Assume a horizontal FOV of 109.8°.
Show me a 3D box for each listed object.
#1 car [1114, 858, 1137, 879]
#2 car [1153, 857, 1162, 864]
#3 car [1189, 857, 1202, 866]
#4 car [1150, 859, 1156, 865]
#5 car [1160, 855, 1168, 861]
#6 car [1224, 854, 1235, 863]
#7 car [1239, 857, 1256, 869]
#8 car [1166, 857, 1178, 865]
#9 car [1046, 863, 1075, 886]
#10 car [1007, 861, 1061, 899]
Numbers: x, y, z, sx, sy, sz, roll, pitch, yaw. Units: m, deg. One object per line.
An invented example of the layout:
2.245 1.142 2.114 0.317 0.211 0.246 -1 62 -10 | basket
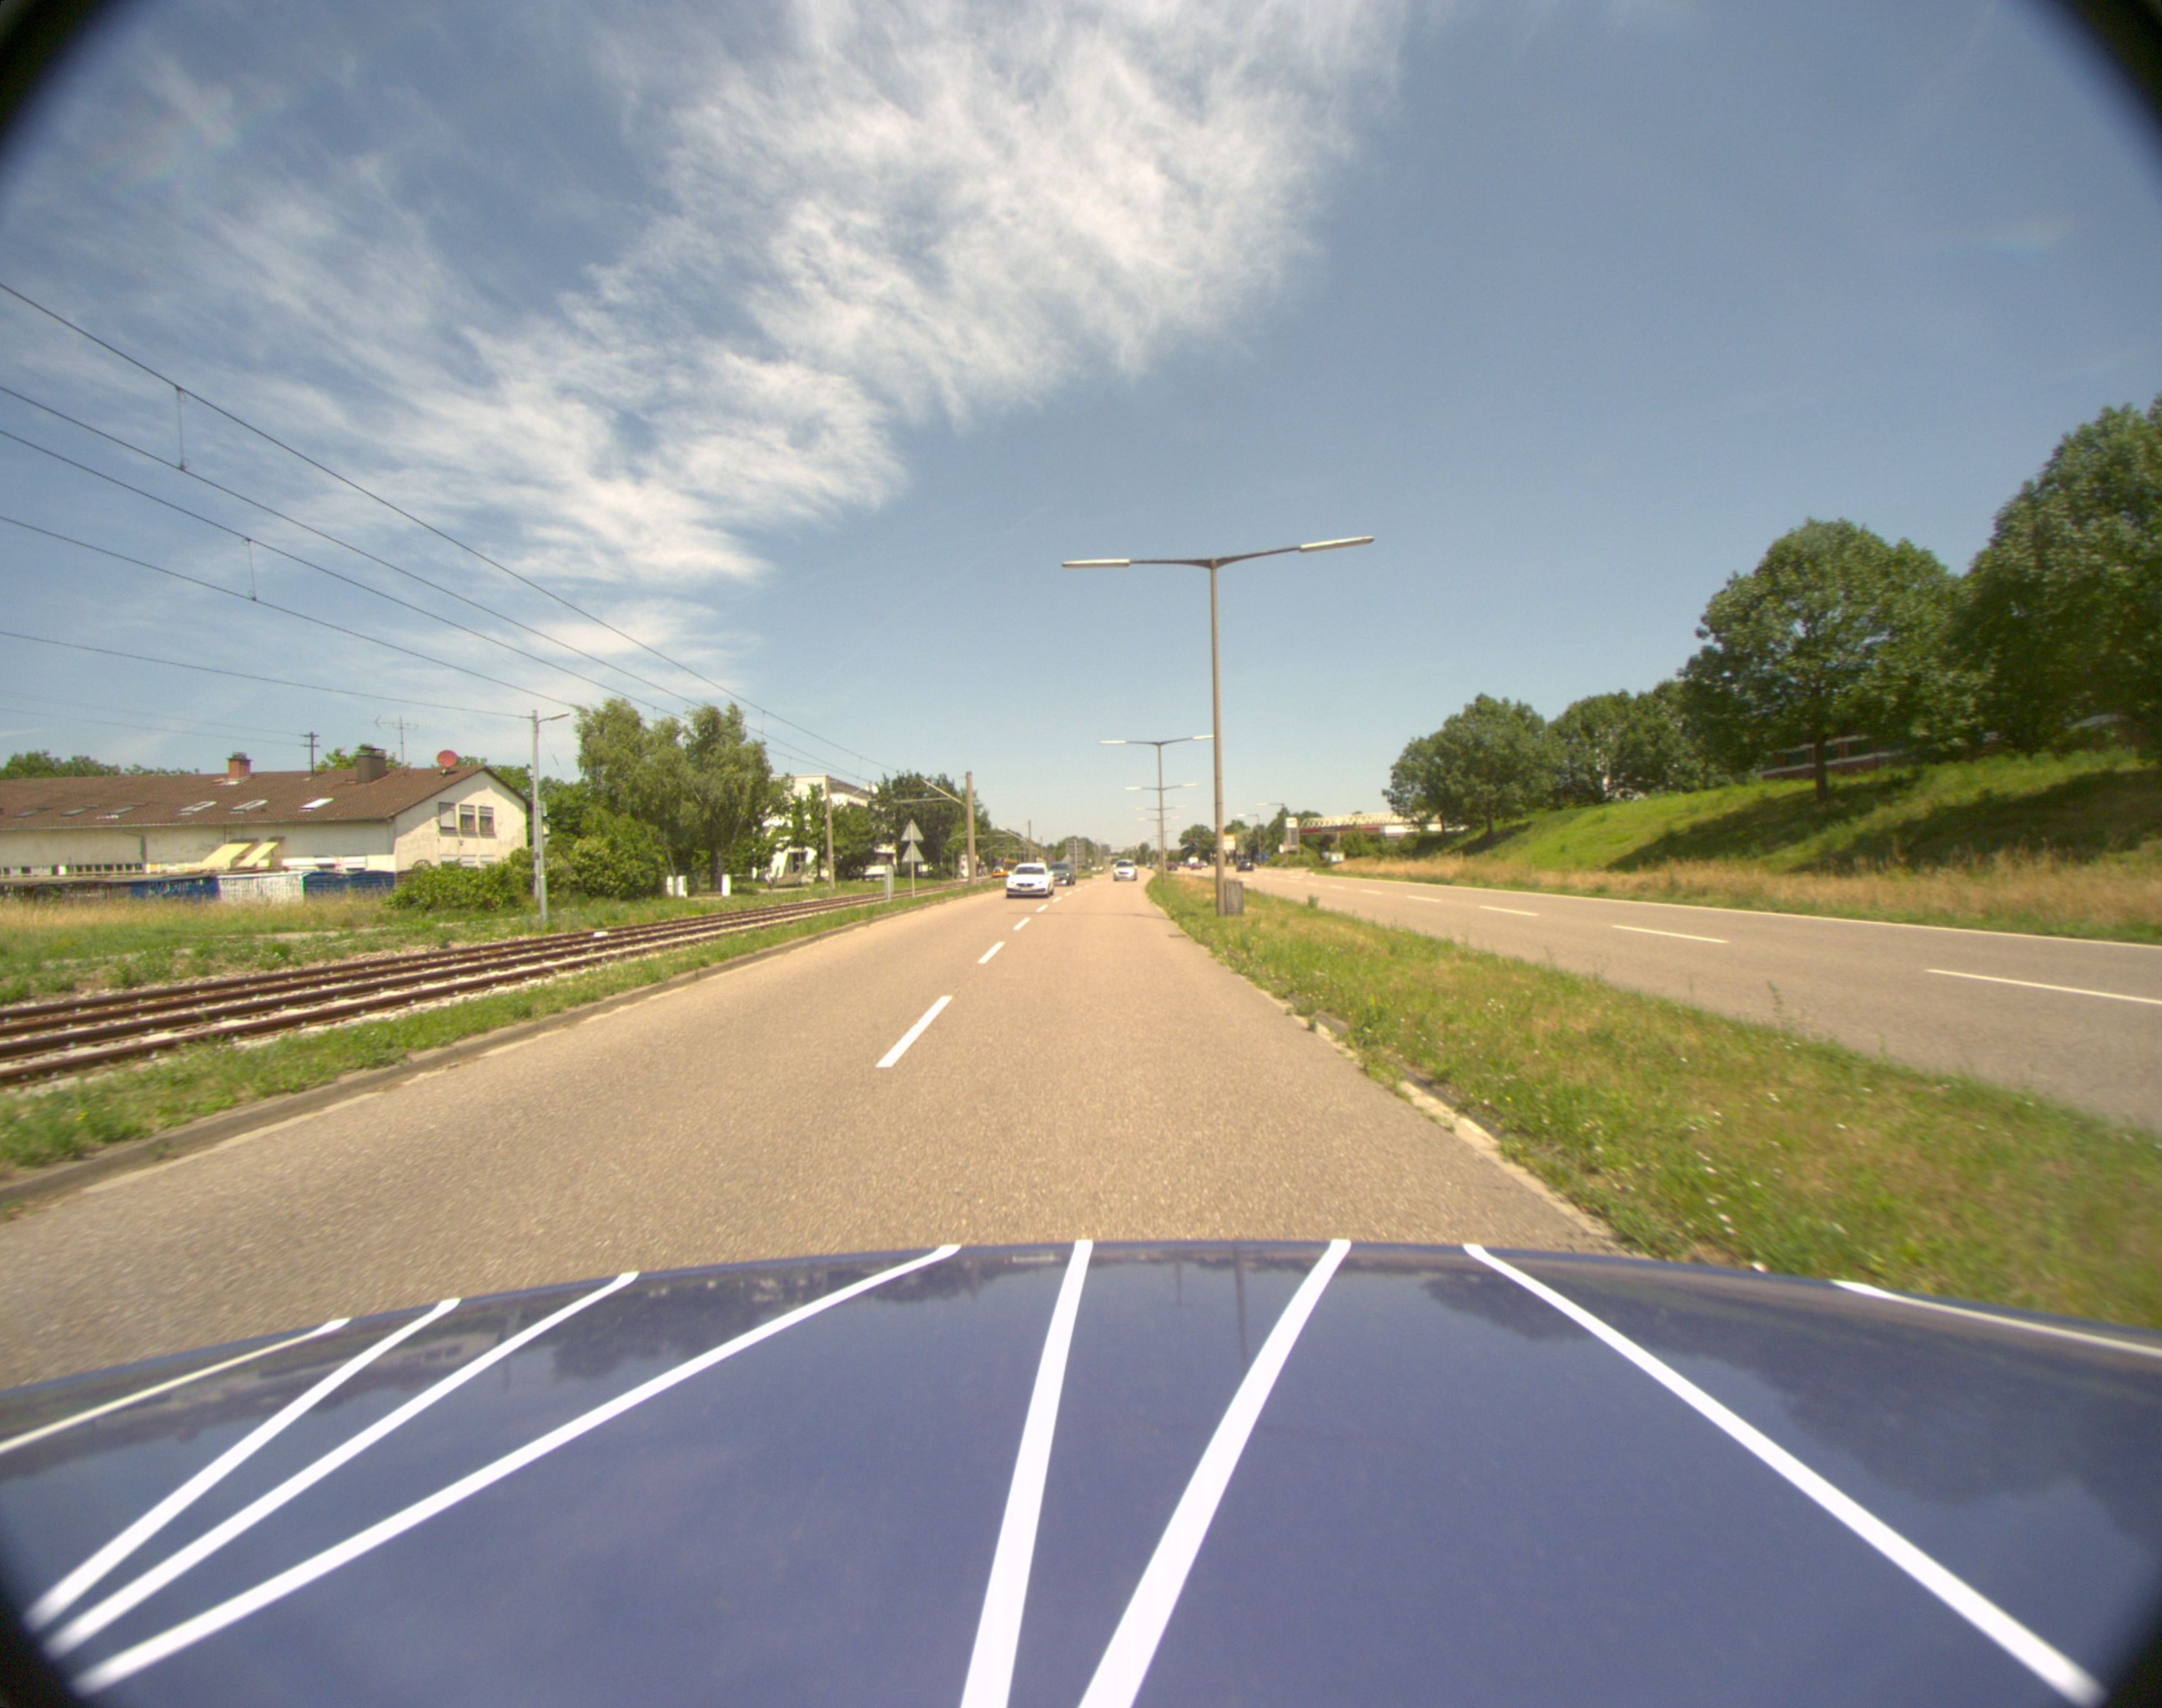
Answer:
3.901 1.250 67.257 1.883 1.687 3.788 -2 1 2 | car
16.358 1.348 162.829 1.618 1.386 3.601 -2 1 1 | car
20.329 1.323 134.974 1.618 1.386 3.601 -2 1 1 | car
18.245 1.942 192.481 1.621 1.346 3.516 -2 1 5 | car
20.003 0.982 183.082 1.618 1.386 3.601 -2 1 1 | car
28.924 0.844 147.955 1.652 1.577 3.820 -2 1 3 | car
20.144 1.114 92.080 1.621 1.346 3.516 -2 1 7 | car
16.489 1.308 137.981 1.618 1.386 3.601 -2 1 1 | car
-1.313 1.339 49.973 1.646 1.302 3.786 -2 1 1 | car
-1.995 1.089 33.179 1.771 1.434 4.130 -2 1 4 | car
